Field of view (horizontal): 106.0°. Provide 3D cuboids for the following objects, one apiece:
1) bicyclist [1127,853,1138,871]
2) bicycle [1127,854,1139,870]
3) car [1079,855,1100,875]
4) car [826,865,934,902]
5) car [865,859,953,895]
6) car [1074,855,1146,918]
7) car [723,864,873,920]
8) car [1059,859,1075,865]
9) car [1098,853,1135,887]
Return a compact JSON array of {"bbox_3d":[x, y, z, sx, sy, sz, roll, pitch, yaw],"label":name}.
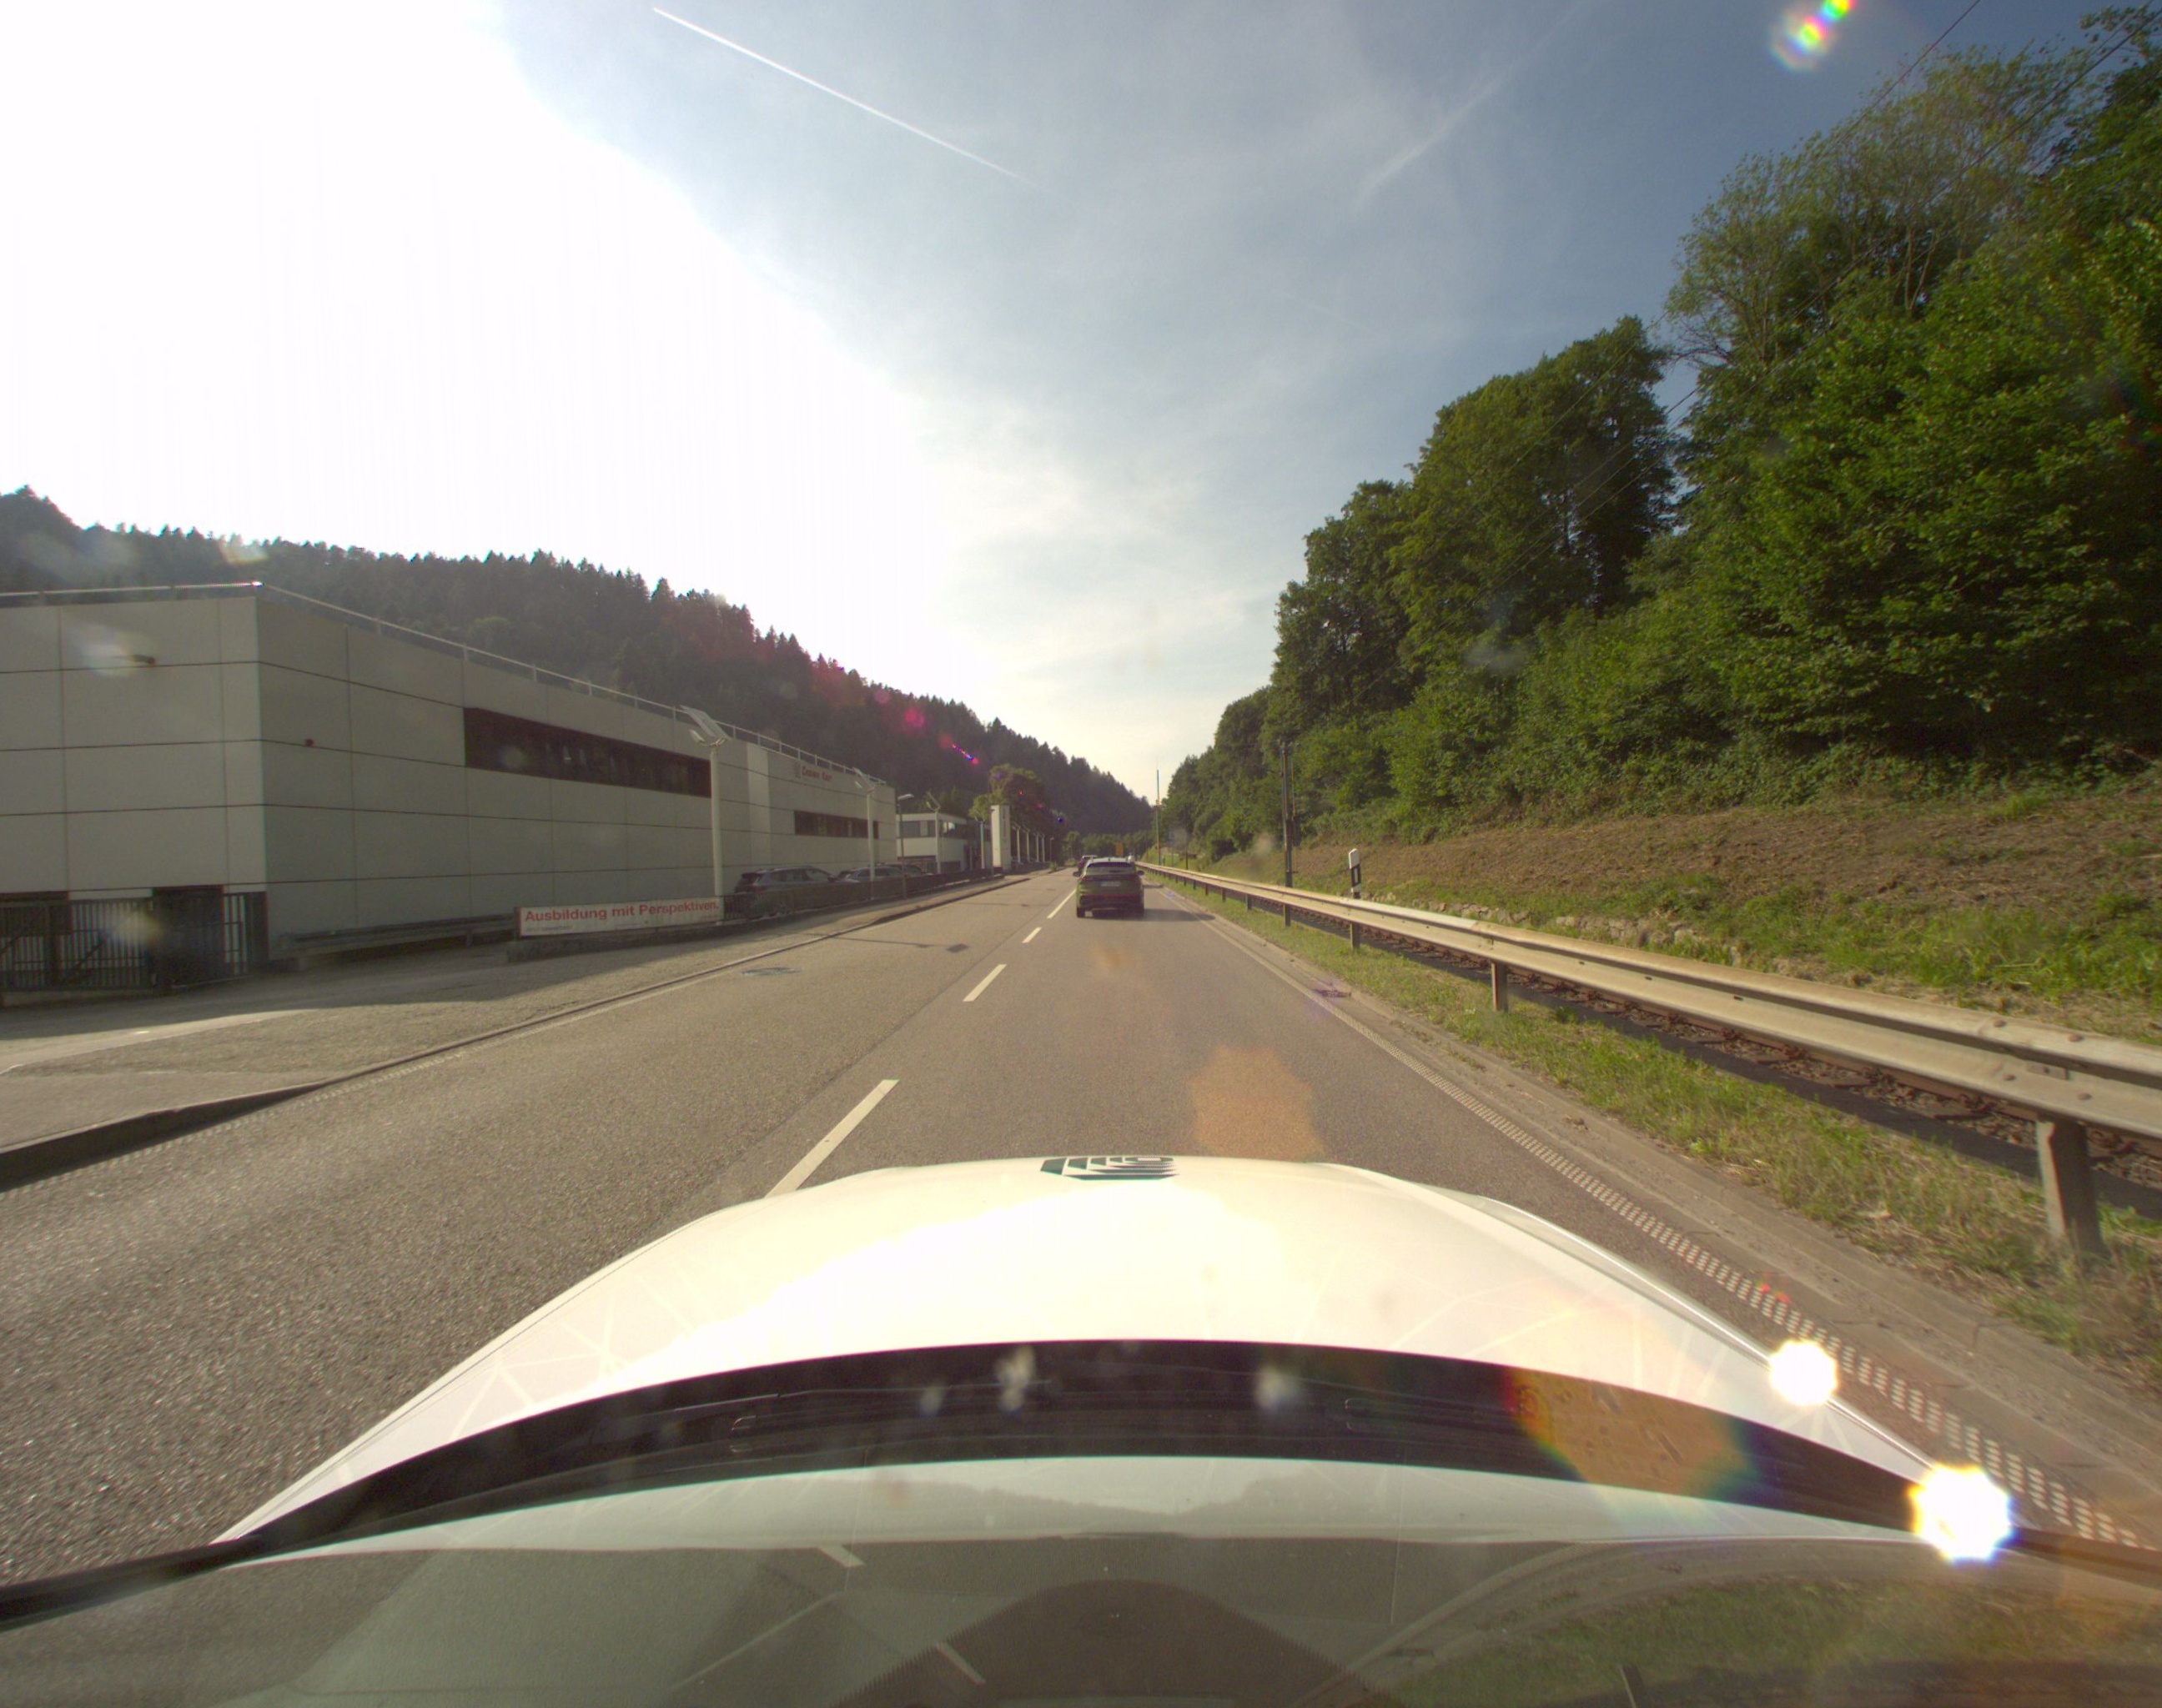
[{"bbox_3d":[4.088,0.648,64.739,0.779,1.412,0.675,-2,-1,-1],"label":"bicyclist"},{"bbox_3d":[4.092,0.616,64.456,0.809,1.250,2.122,-2,0,0],"label":"bicycle"},{"bbox_3d":[0.729,0.910,68.635,1.733,1.602,4.000,-1,0,1],"label":"car"},{"bbox_3d":[-9.219,1.319,37.598,1.865,1.495,4.516,-2,0,43],"label":"car"},{"bbox_3d":[-8.803,1.149,41.836,1.759,1.708,4.135,-2,0,43],"label":"car"},{"bbox_3d":[0.742,0.794,21.804,1.733,1.508,4.000,-1,0,1],"label":"car"},{"bbox_3d":[-9.118,1.174,26.445,1.865,1.592,4.200,-2,0,43],"label":"car"},{"bbox_3d":[-3.939,2.278,224.256,4.242,1.433,1.558,-2,0,2],"label":"car"},{"bbox_3d":[1.725,0.763,40.883,1.733,1.602,4.000,-1,0,1],"label":"car"}]
